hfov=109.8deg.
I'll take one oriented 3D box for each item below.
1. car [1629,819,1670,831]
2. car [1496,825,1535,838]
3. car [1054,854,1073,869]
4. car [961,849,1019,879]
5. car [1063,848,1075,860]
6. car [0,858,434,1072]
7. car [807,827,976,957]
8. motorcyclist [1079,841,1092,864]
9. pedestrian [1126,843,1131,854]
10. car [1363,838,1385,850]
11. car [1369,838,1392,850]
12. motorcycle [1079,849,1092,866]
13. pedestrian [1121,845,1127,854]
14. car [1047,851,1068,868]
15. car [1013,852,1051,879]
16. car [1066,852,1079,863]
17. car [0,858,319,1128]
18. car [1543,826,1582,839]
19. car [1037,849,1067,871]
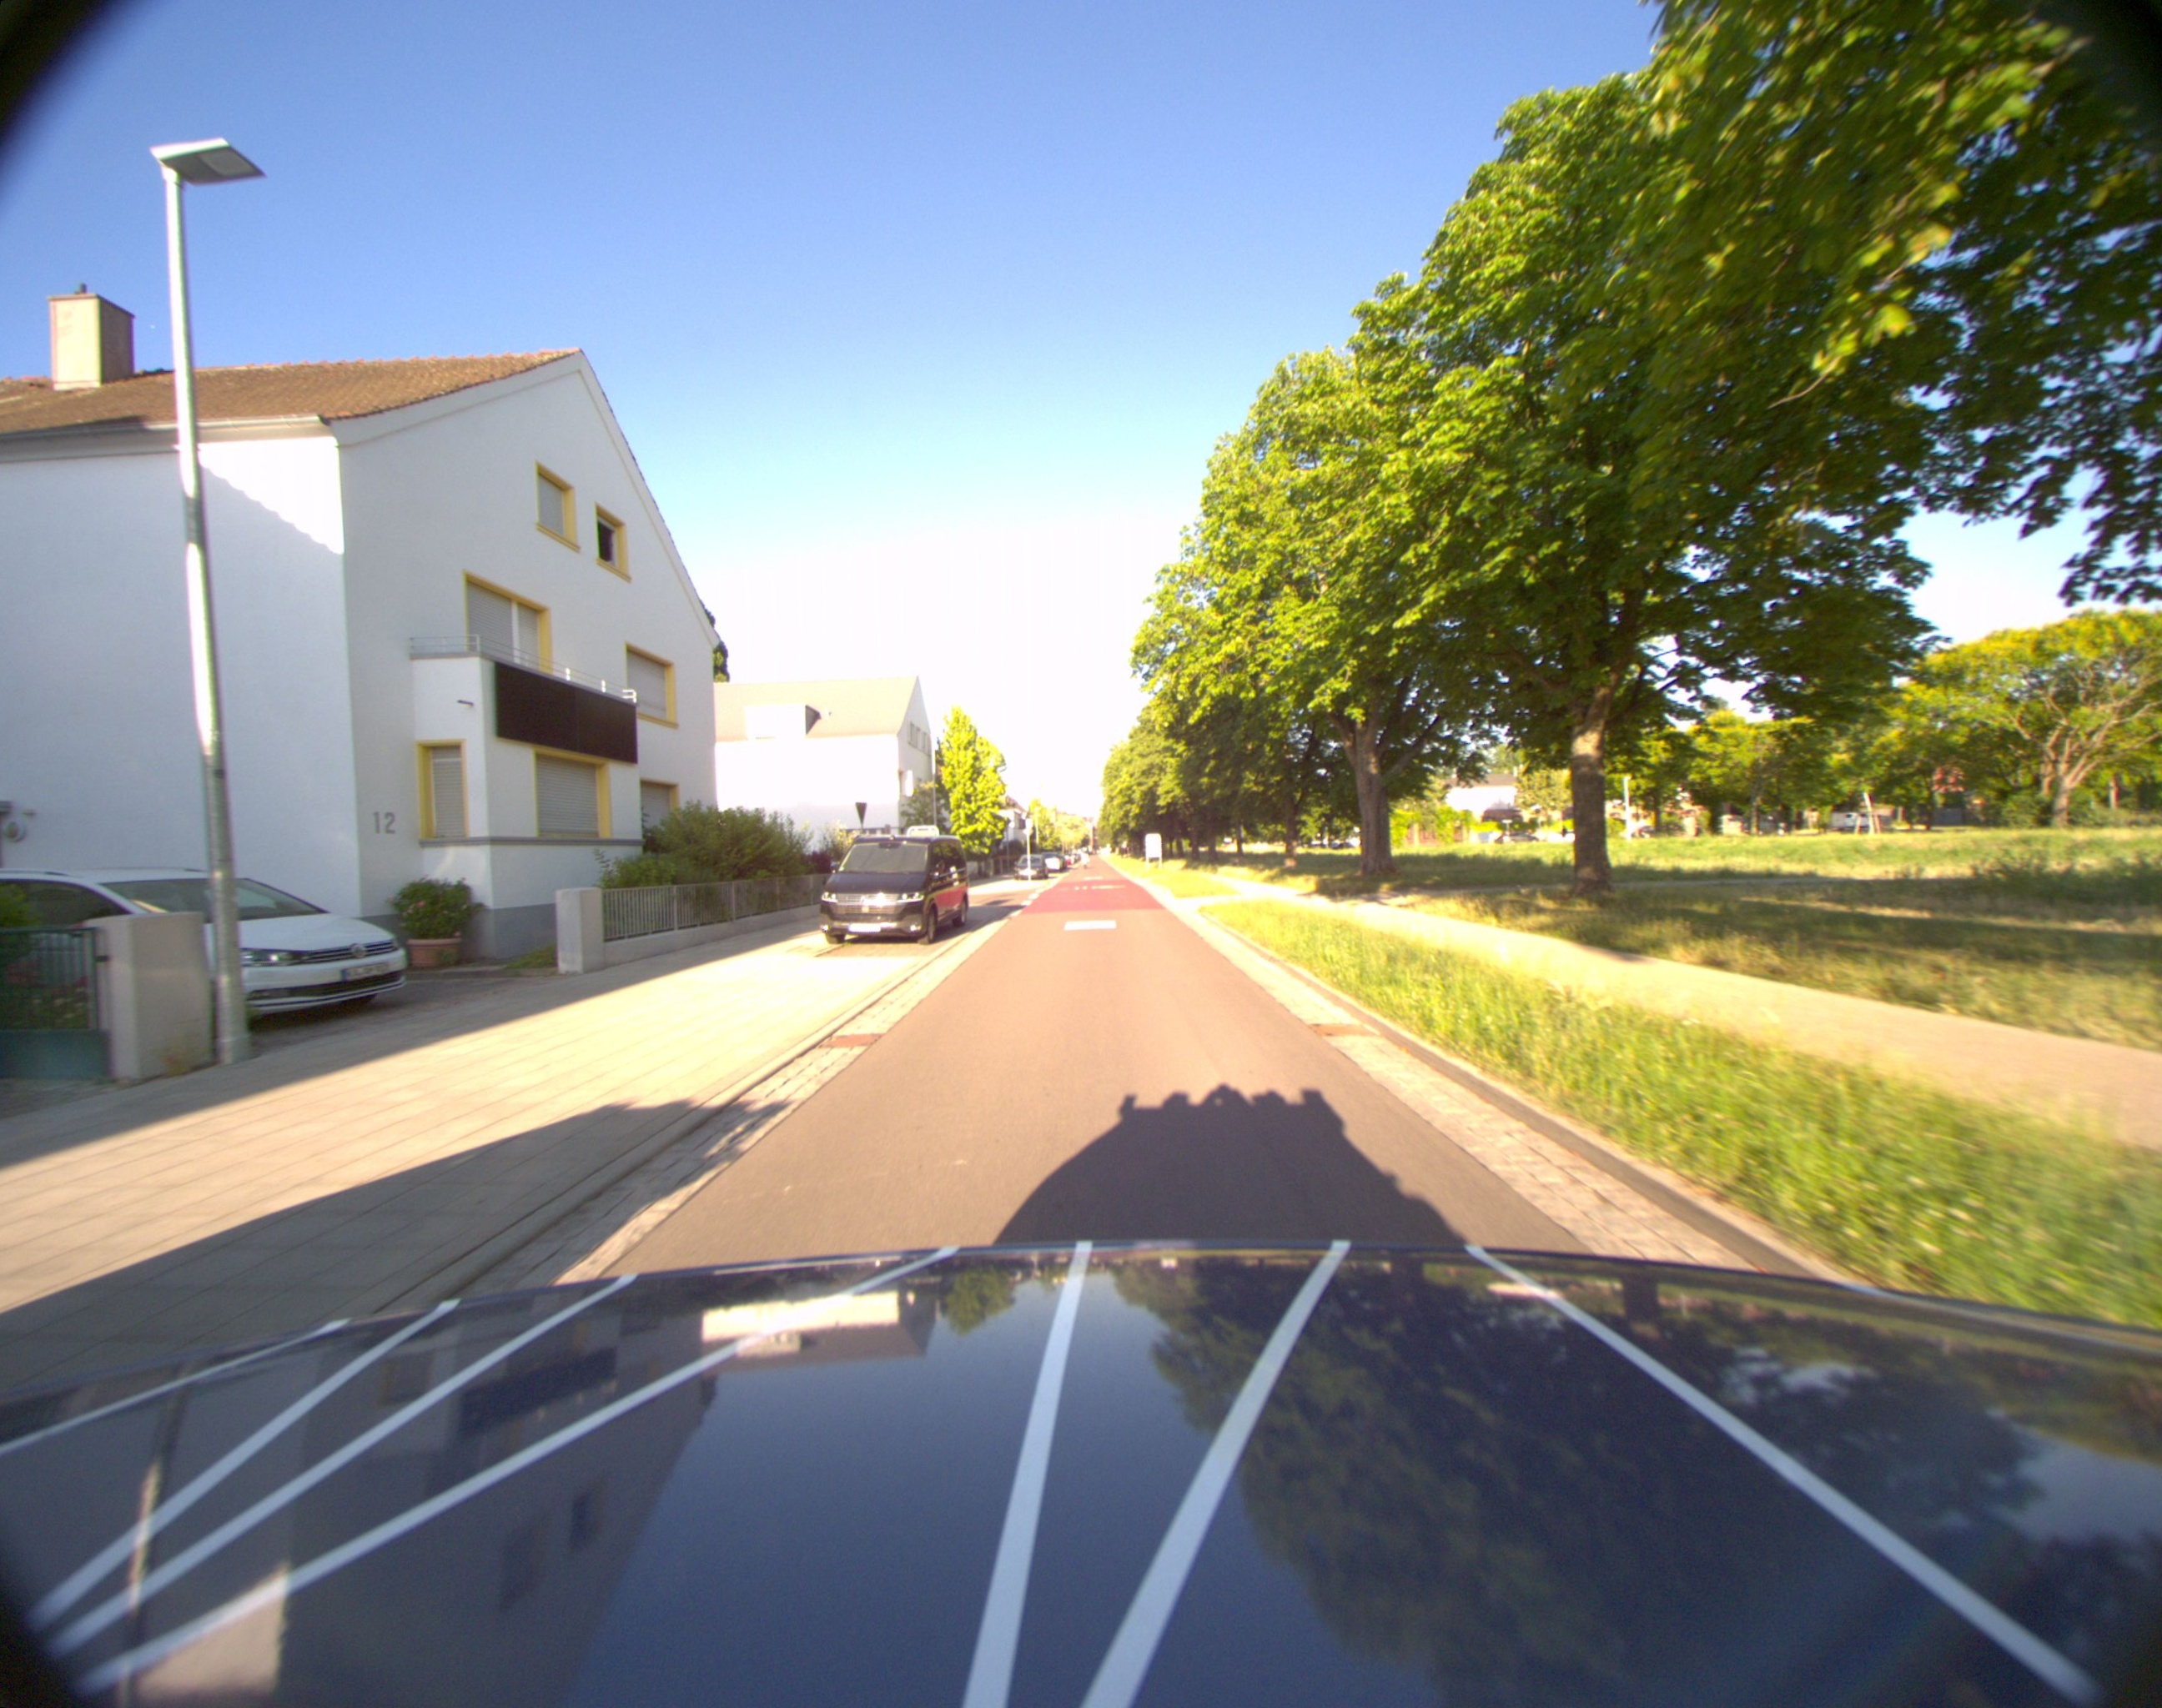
[{"bbox_3d":[68.981,-3.521,92.210,3.636,1.273,1.586,-4,2,2],"label":"car"},{"bbox_3d":[52.169,-2.655,91.274,3.636,1.273,1.586,-4,2,2],"label":"car"},{"bbox_3d":[-2.108,0.896,91.467,1.910,1.698,4.575,-1,0,3],"label":"car"},{"bbox_3d":[-6.630,0.739,55.596,3.994,1.834,1.815,-4,0,-4],"label":"car"},{"bbox_3d":[-1.604,-0.006,102.620,1.508,1.471,3.492,-2,1,2],"label":"car"},{"bbox_3d":[-9.577,1.066,7.709,4.228,1.716,1.852,-4,2,-2],"label":"car"},{"bbox_3d":[-3.453,0.598,14.914,1.910,2.120,4.814,-1,1,2],"label":"car"},{"bbox_3d":[0.415,-0.168,70.427,0.961,2.002,1.273,-4,2,0],"label":"motorcyclist"},{"bbox_3d":[8.321,-0.976,132.802,0.625,1.841,0.606,-2,3,40],"label":"pedestrian"},{"bbox_3d":[39.071,-1.337,101.487,1.585,1.473,3.639,-4,2,2],"label":"car"},{"bbox_3d":[44.226,-1.419,112.270,1.766,1.619,3.999,-4,1,1],"label":"car"},{"bbox_3d":[0.448,0.303,70.541,1.077,1.373,2.463,-4,1,0],"label":"motorcycle"},{"bbox_3d":[7.555,-0.817,133.283,0.625,1.621,0.606,-3,2,27],"label":"pedestrian"},{"bbox_3d":[-2.181,0.452,71.428,1.798,1.486,4.193,-1,1,1],"label":"car"},{"bbox_3d":[-2.847,0.652,44.832,1.798,1.474,4.124,0,0,2],"label":"car"},{"bbox_3d":[-1.221,0.457,112.831,1.745,1.471,4.056,-3,1,0],"label":"car"},{"bbox_3d":[-8.972,0.989,5.805,4.228,1.716,1.852,-2,2,-2],"label":"car"},{"bbox_3d":[58.069,-2.583,91.711,3.636,1.273,1.586,-4,2,2],"label":"car"},{"bbox_3d":[-2.260,0.448,60.080,1.910,1.698,4.575,-1,0,3],"label":"car"}]
